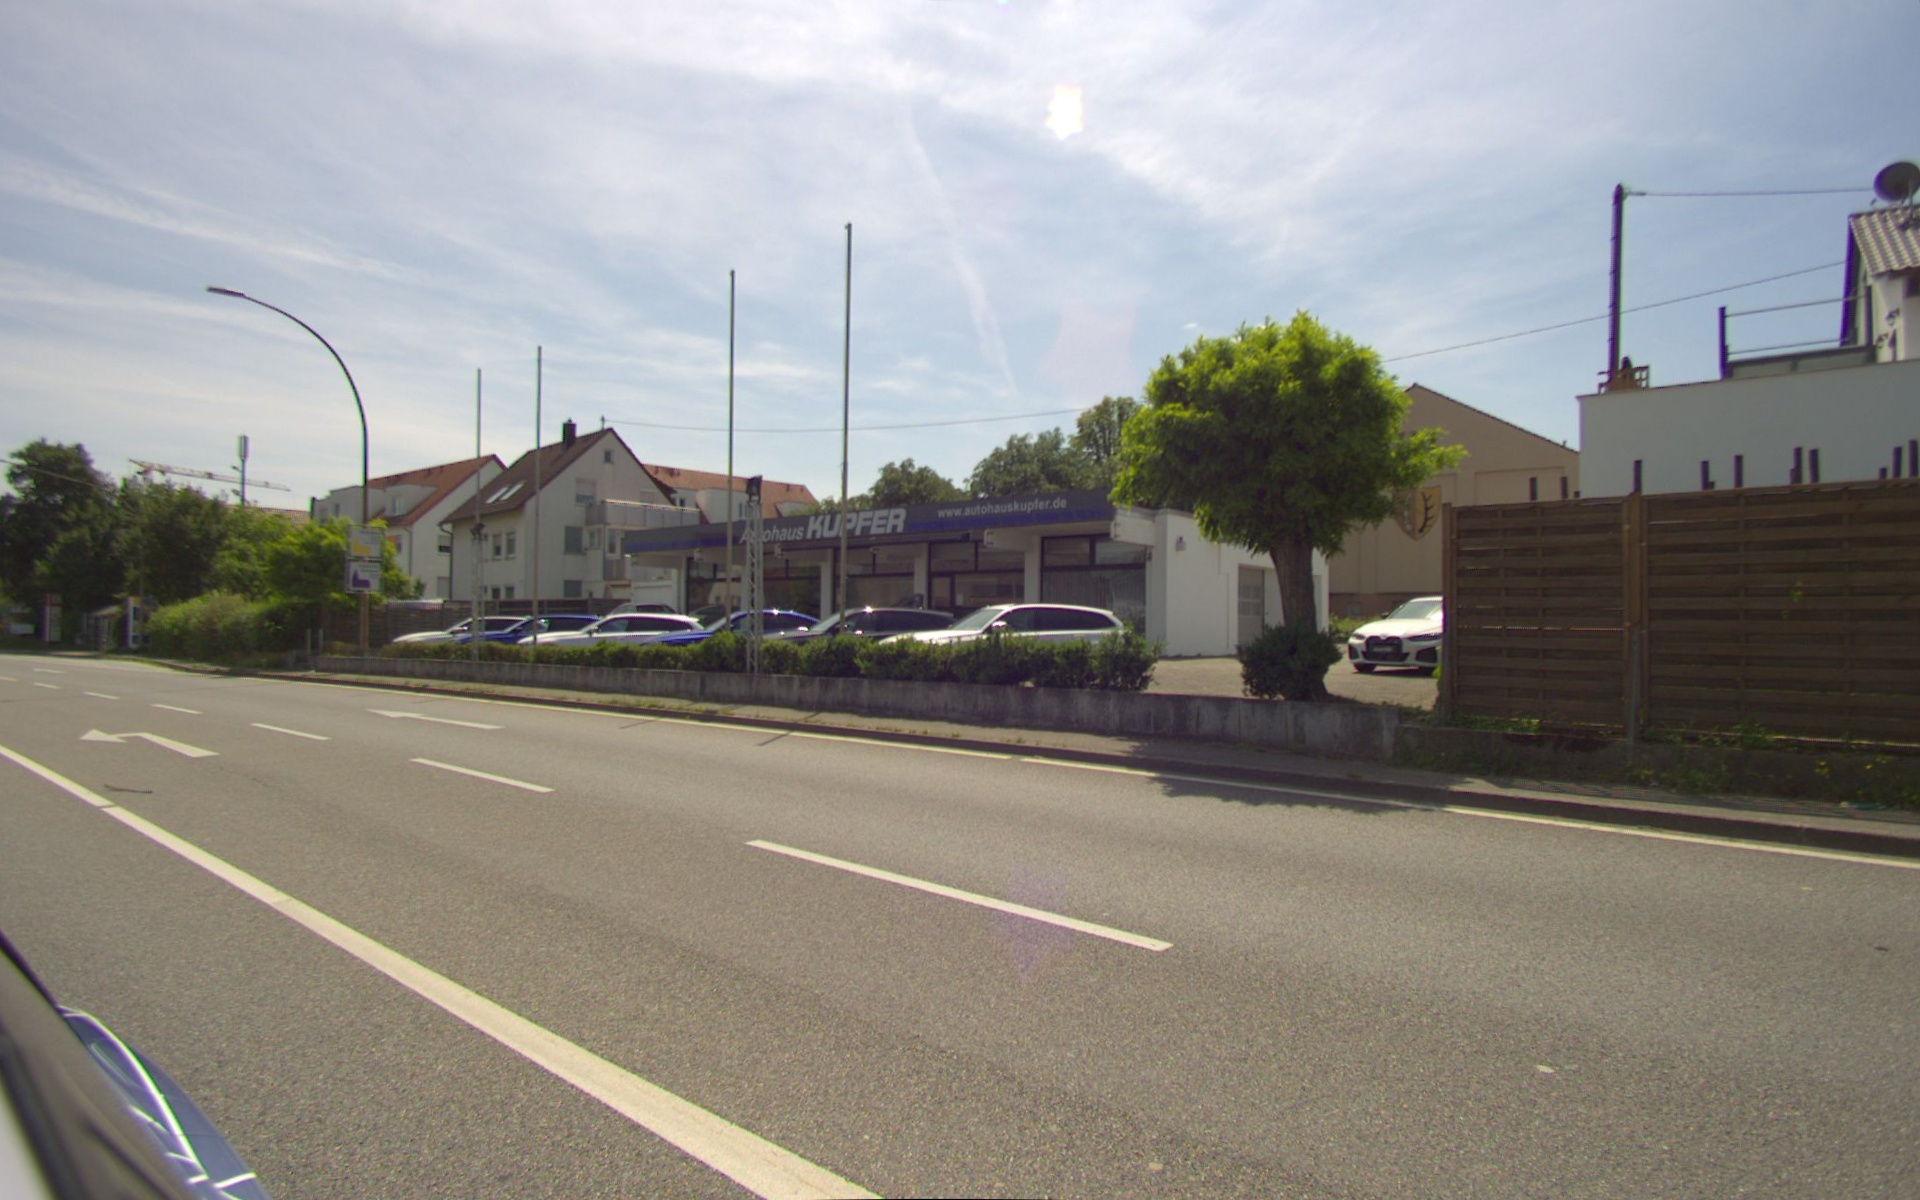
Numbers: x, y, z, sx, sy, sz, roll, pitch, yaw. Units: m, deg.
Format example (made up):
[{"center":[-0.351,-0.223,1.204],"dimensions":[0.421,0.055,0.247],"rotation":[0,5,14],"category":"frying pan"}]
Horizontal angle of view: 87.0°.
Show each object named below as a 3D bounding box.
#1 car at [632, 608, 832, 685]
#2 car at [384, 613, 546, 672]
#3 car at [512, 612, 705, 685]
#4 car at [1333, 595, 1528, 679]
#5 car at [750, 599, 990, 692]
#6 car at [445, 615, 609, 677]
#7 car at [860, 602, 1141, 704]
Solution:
[{"center":[-4.956,0.953,21.975],"dimensions":[3.931,1.453,1.860],"rotation":[-1,0,-24],"category":"car"},{"center":[-14.605,1.226,30.143],"dimensions":[4.192,1.541,2.007],"rotation":[-1,0,-23],"category":"car"},{"center":[-8.501,1.121,24.578],"dimensions":[4.239,1.530,2.006],"rotation":[-1,0,-22],"category":"car"},{"center":[9.109,0.648,19.480],"dimensions":[3.936,1.451,1.886],"rotation":[0,0,-39],"category":"car"},{"center":[-1.733,0.813,19.516],"dimensions":[4.187,1.557,1.857],"rotation":[-1,0,-26],"category":"car"},{"center":[-11.690,1.204,27.495],"dimensions":[3.931,1.475,2.007],"rotation":[-1,0,-23],"category":"car"},{"center":[0.681,0.814,16.874],"dimensions":[4.264,1.471,1.861],"rotation":[-1,-1,-25],"category":"car"}]
